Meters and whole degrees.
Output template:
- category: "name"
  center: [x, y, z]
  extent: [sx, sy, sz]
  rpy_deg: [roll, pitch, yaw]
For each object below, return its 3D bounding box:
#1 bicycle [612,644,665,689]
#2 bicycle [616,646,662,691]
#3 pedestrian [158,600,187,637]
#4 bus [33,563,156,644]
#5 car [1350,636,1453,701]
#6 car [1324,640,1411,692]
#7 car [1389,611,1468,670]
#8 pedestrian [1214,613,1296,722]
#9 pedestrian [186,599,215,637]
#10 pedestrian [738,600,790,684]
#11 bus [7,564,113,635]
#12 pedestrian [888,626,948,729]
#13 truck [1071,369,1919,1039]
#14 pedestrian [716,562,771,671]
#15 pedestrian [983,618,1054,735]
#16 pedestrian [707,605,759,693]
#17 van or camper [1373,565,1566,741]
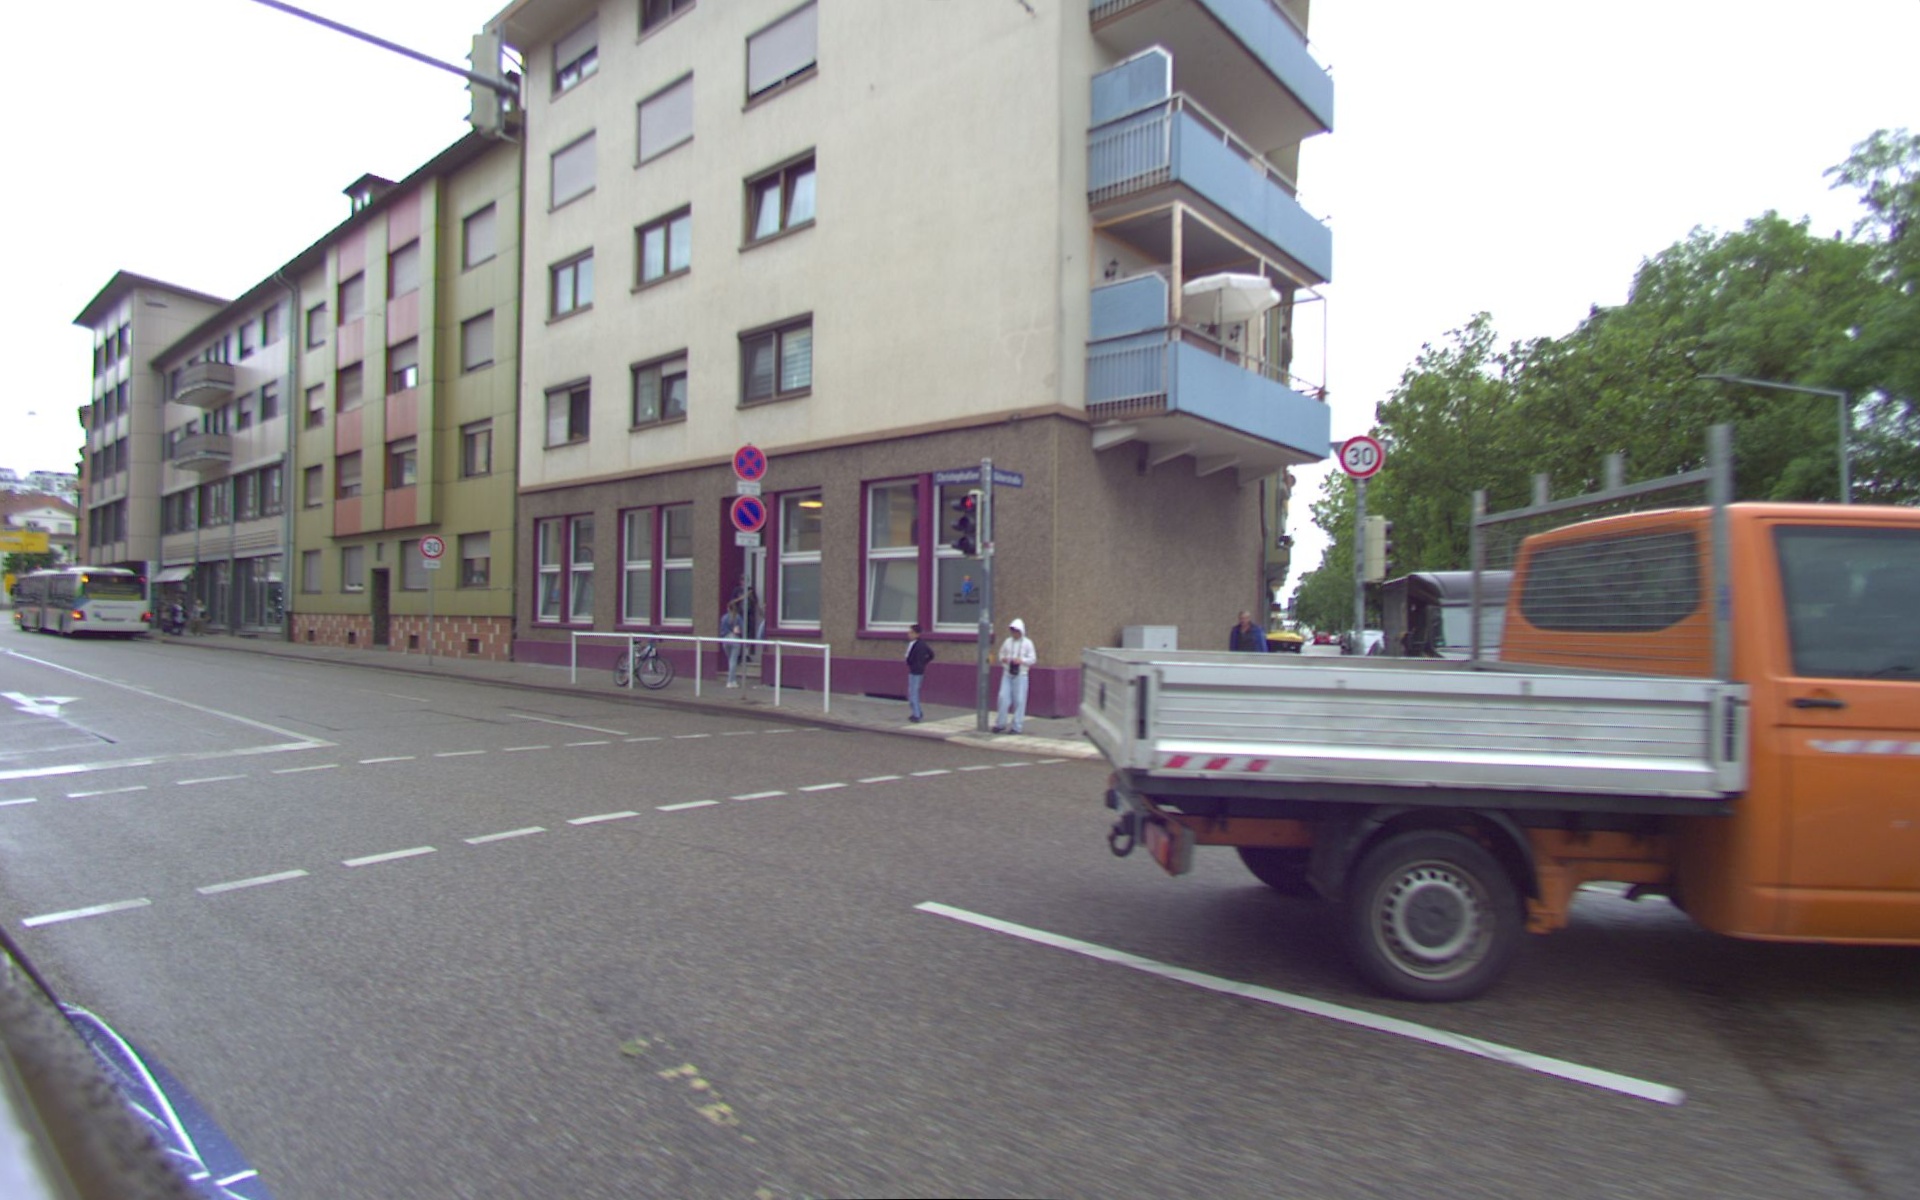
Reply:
- category: "bicycle"
  center: [-6.240, 1.276, 19.618]
  extent: [1.421, 0.789, 0.261]
  rpy_deg: [1, -1, 41]
- category: "bicycle"
  center: [-6.026, 1.276, 18.996]
  extent: [1.110, 0.789, 0.261]
  rpy_deg: [1, -1, 41]
- category: "pedestrian"
  center: [-33.438, 0.807, 42.961]
  extent: [0.711, 1.546, 0.791]
  rpy_deg: [0, -1, 41]
- category: "bus"
  center: [-37.992, 0.135, 44.277]
  extent: [9.288, 3.212, 2.697]
  rpy_deg: [1, -1, 41]
- category: "car"
  center: [11.580, 1.748, 26.792]
  extent: [1.852, 1.510, 3.687]
  rpy_deg: [1, -1, 14]
- category: "car"
  center: [13.436, 2.146, 33.548]
  extent: [1.849, 1.510, 3.693]
  rpy_deg: [1, -1, 9]
- category: "car"
  center: [17.373, 1.478, 37.727]
  extent: [1.982, 2.029, 3.980]
  rpy_deg: [1, -1, 15]
- category: "pedestrian"
  center: [5.031, 1.124, 17.281]
  extent: [1.022, 1.766, 0.920]
  rpy_deg: [0, -1, 42]
- category: "pedestrian"
  center: [-32.578, 0.770, 43.424]
  extent: [0.711, 1.627, 0.828]
  rpy_deg: [0, -1, 41]
- category: "pedestrian"
  center: [-3.794, 0.799, 19.602]
  extent: [0.588, 1.589, 0.765]
  rpy_deg: [0, -1, 40]
- category: "bus"
  center: [-44.552, -0.010, 49.979]
  extent: [8.907, 3.212, 2.730]
  rpy_deg: [1, -1, 41]
- category: "pedestrian"
  center: [-0.592, 1.072, 14.344]
  extent: [0.649, 1.398, 0.539]
  rpy_deg: [0, 0, 43]
- category: "truck"
  center: [3.199, 0.356, 4.459]
  extent: [5.247, 2.146, 2.404]
  rpy_deg: [1, -1, 5]
- category: "pedestrian"
  center: [-4.298, 0.328, 20.087]
  extent: [0.729, 2.115, 0.705]
  rpy_deg: [0, -1, 38]
- category: "pedestrian"
  center: [0.763, 0.976, 13.221]
  extent: [0.660, 1.469, 0.636]
  rpy_deg: [0, -1, 39]
- category: "pedestrian"
  center: [-4.175, 0.889, 18.631]
  extent: [0.739, 1.565, 0.569]
  rpy_deg: [0, -1, 38]
- category: "van or camper"
  center: [9.406, 0.897, 19.310]
  extent: [1.982, 2.751, 6.451]
  rpy_deg: [1, -1, 15]
